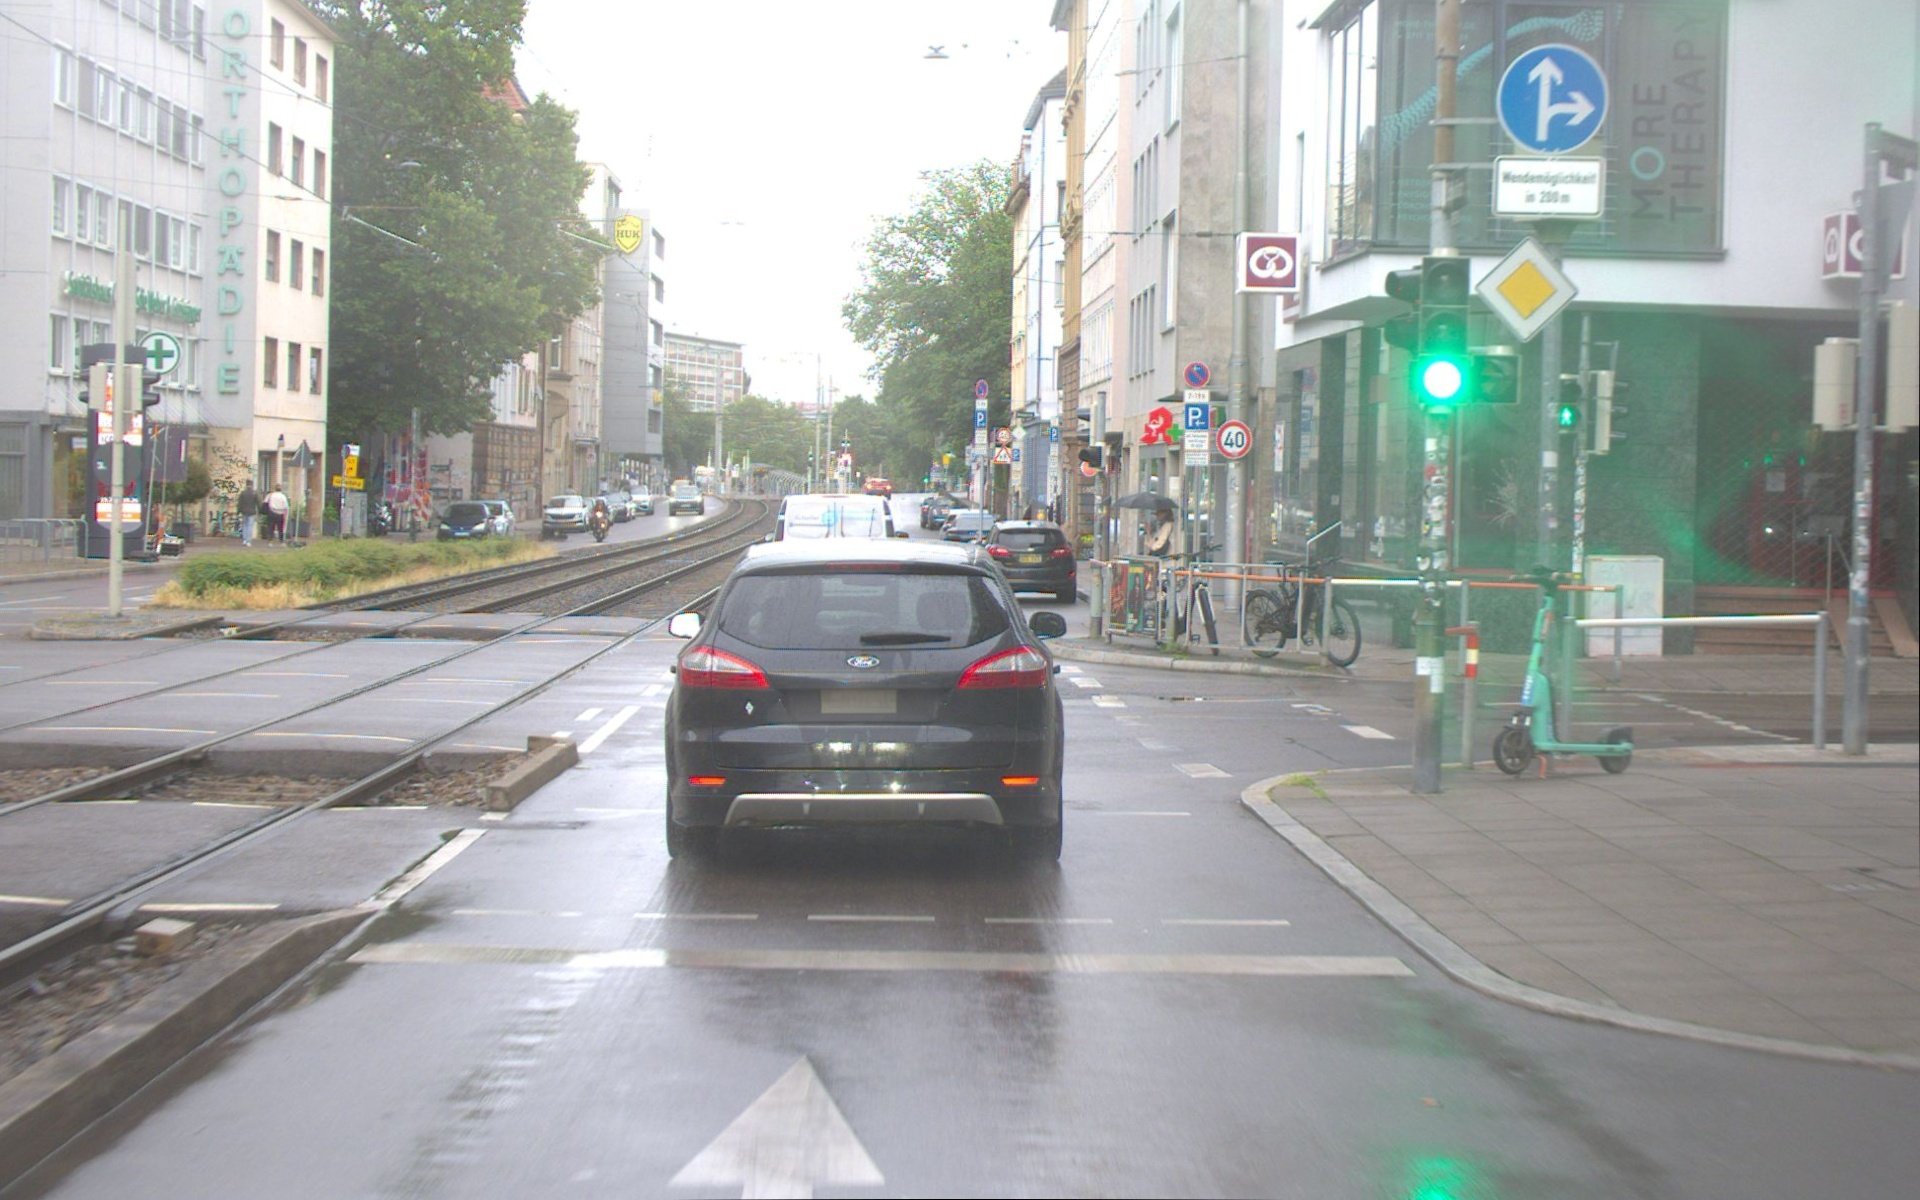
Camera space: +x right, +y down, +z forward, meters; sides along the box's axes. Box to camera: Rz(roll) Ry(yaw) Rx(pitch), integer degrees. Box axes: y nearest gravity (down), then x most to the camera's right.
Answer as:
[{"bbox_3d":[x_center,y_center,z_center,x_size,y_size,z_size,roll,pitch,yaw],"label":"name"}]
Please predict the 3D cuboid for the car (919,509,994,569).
[{"bbox_3d":[-0.115,-1.669,94.376,1.993,1.588,4.572,1,1,-1],"label":"car"}]

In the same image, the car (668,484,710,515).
[{"bbox_3d":[-14.786,-5.496,187.767,1.993,1.514,4.444,2,0,-1],"label":"car"}]

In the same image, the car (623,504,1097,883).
[{"bbox_3d":[-0.451,0.365,16.731,1.993,1.588,4.271,1,1,-1],"label":"car"}]

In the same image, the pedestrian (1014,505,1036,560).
[{"bbox_3d":[2.248,-2.329,118.697,0.661,1.845,0.821,1,2,-2],"label":"pedestrian"}]

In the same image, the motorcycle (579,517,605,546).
[{"bbox_3d":[-13.819,-2.563,129.190,0.742,1.056,1.931,2,1,1],"label":"motorcycle"}]

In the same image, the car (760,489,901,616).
[{"bbox_3d":[-1.913,-0.723,51.753,1.993,1.810,4.271,1,1,-1],"label":"car"}]

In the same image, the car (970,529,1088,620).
[{"bbox_3d":[1.230,-0.479,62.866,1.993,1.588,4.271,1,1,-1],"label":"car"}]

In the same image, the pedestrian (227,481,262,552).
[{"bbox_3d":[-19.495,-2.275,93.704,0.727,1.889,0.983,2,1,-1],"label":"pedestrian"}]

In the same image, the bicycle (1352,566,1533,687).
[{"bbox_3d":[4.922,0.258,35.195,0.576,1.153,1.956,1,1,-37],"label":"bicycle"}]

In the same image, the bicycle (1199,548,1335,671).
[{"bbox_3d":[3.310,0.088,37.225,0.497,1.254,1.957,1,1,-26],"label":"bicycle"}]

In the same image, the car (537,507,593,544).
[{"bbox_3d":[-17.181,-3.267,149.660,1.993,1.514,4.436,2,2,-1],"label":"car"}]

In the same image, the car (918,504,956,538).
[{"bbox_3d":[-1.084,-3.737,161.927,1.642,1.510,4.040,1,2,-2],"label":"car"}]

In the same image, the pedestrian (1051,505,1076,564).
[{"bbox_3d":[3.580,-2.279,118.925,0.736,2.006,0.821,1,2,-2],"label":"pedestrian"}]

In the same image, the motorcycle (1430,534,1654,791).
[{"bbox_3d":[3.424,0.352,20.212,1.129,1.456,0.684,0,1,-37],"label":"motorcycle"}]

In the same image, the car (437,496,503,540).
[{"bbox_3d":[-16.561,-2.776,116.375,1.744,1.463,4.220,0,2,-1],"label":"car"}]

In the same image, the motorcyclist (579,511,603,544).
[{"bbox_3d":[-13.815,-2.719,128.625,0.741,1.213,0.970,2,1,1],"label":"motorcyclist"}]

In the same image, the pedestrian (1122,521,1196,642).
[{"bbox_3d":[2.606,-0.246,45.078,0.659,1.577,0.780,0,1,-23],"label":"pedestrian"}]

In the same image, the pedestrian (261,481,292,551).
[{"bbox_3d":[-18.631,-2.297,93.704,0.678,1.889,0.743,2,1,-1],"label":"pedestrian"}]

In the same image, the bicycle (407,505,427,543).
[{"bbox_3d":[-17.935,-2.505,113.525,0.590,1.222,2.404,2,1,-8],"label":"bicycle"}]

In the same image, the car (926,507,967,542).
[{"bbox_3d":[-0.628,-3.472,157.442,1.738,1.484,4.001,1,2,-2],"label":"car"}]
